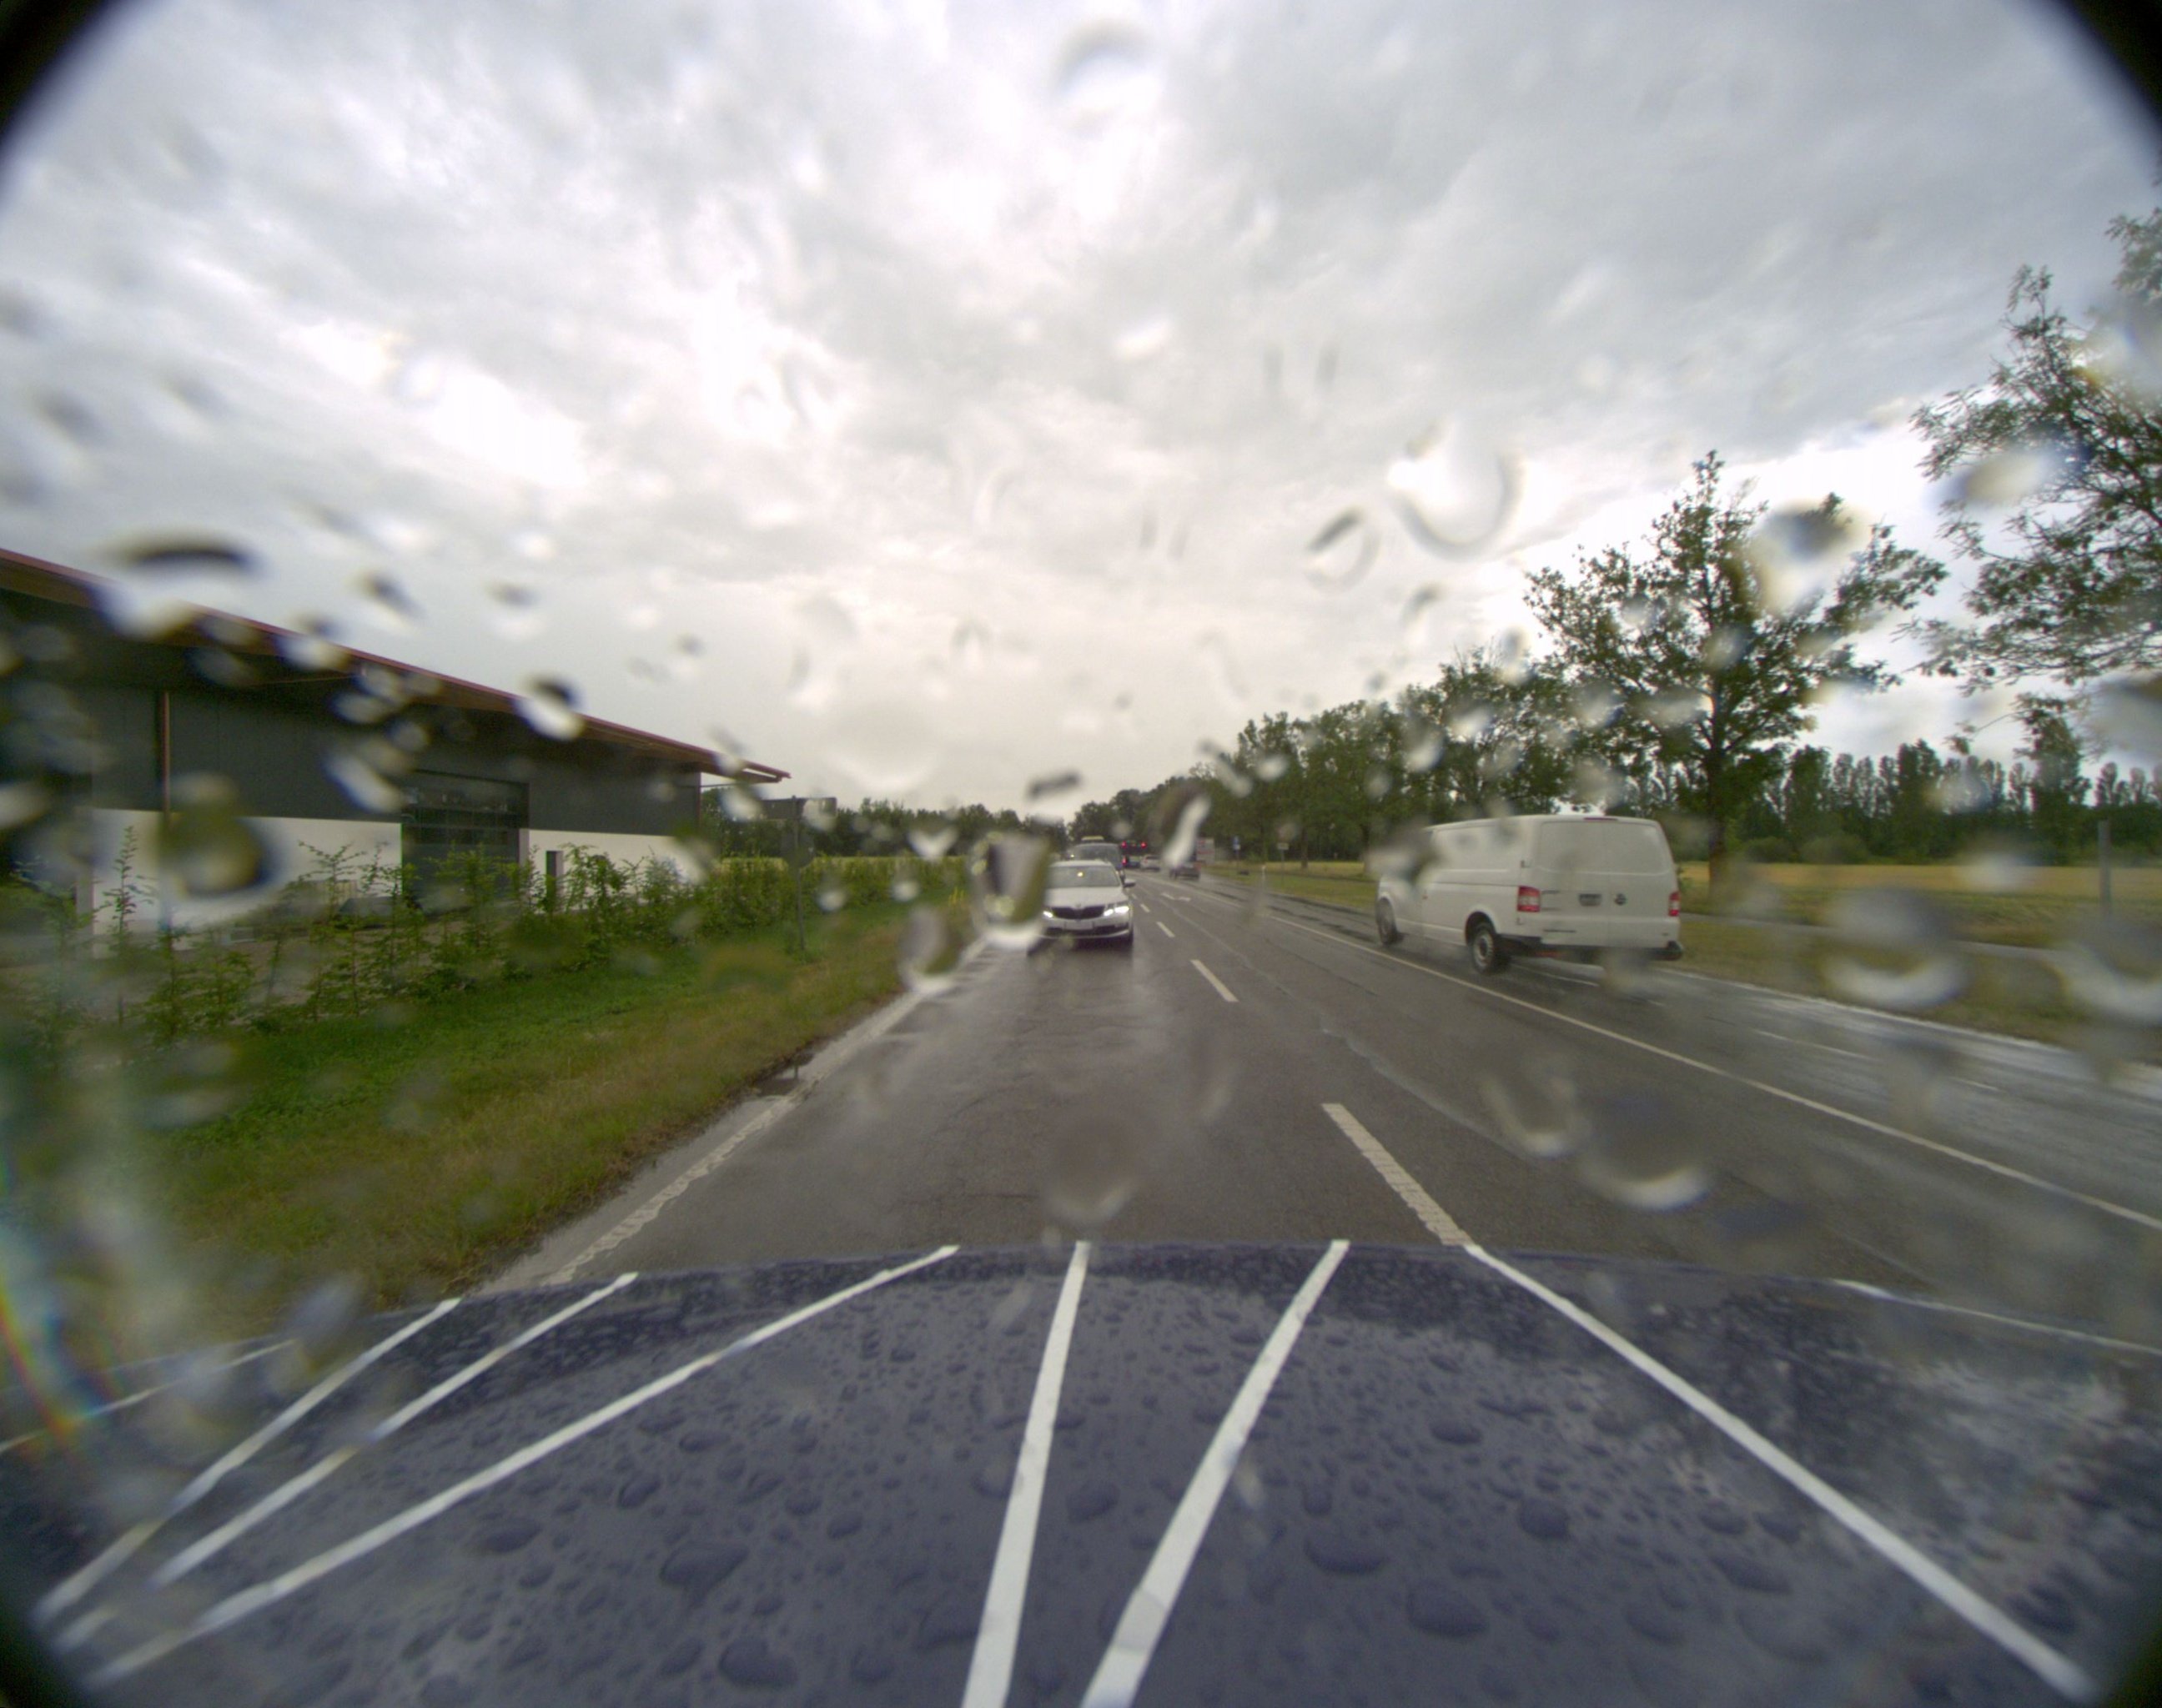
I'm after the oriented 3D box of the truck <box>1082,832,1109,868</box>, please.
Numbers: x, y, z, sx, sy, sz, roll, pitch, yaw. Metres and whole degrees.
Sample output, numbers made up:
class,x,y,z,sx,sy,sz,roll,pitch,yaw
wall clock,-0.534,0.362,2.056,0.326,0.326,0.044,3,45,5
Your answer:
class,x,y,z,sx,sy,sz,roll,pitch,yaw
truck,1.732,-0.467,89.916,2.931,3.828,14.120,0,0,1

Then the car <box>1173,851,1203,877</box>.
class,x,y,z,sx,sy,sz,roll,pitch,yaw
car,6.687,0.626,47.722,1.504,1.521,3.301,2,1,2

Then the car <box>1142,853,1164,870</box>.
class,x,y,z,sx,sy,sz,roll,pitch,yaw
car,6.421,0.617,68.048,1.672,1.442,3.461,2,0,1

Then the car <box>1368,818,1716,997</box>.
class,x,y,z,sx,sy,sz,roll,pitch,yaw
car,5.776,0.548,10.420,1.921,1.851,4.684,2,1,1

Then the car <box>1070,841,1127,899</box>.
class,x,y,z,sx,sy,sz,roll,pitch,yaw
car,0.611,0.525,27.264,1.892,1.939,4.000,0,1,1

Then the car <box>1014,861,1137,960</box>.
class,x,y,z,sx,sy,sz,roll,pitch,yaw
car,-0.043,0.903,14.042,1.843,1.379,4.569,-2,1,1

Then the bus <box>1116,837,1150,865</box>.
class,x,y,z,sx,sy,sz,roll,pitch,yaw
bus,5.771,-0.364,86.600,2.958,2.895,12.473,1,1,0
